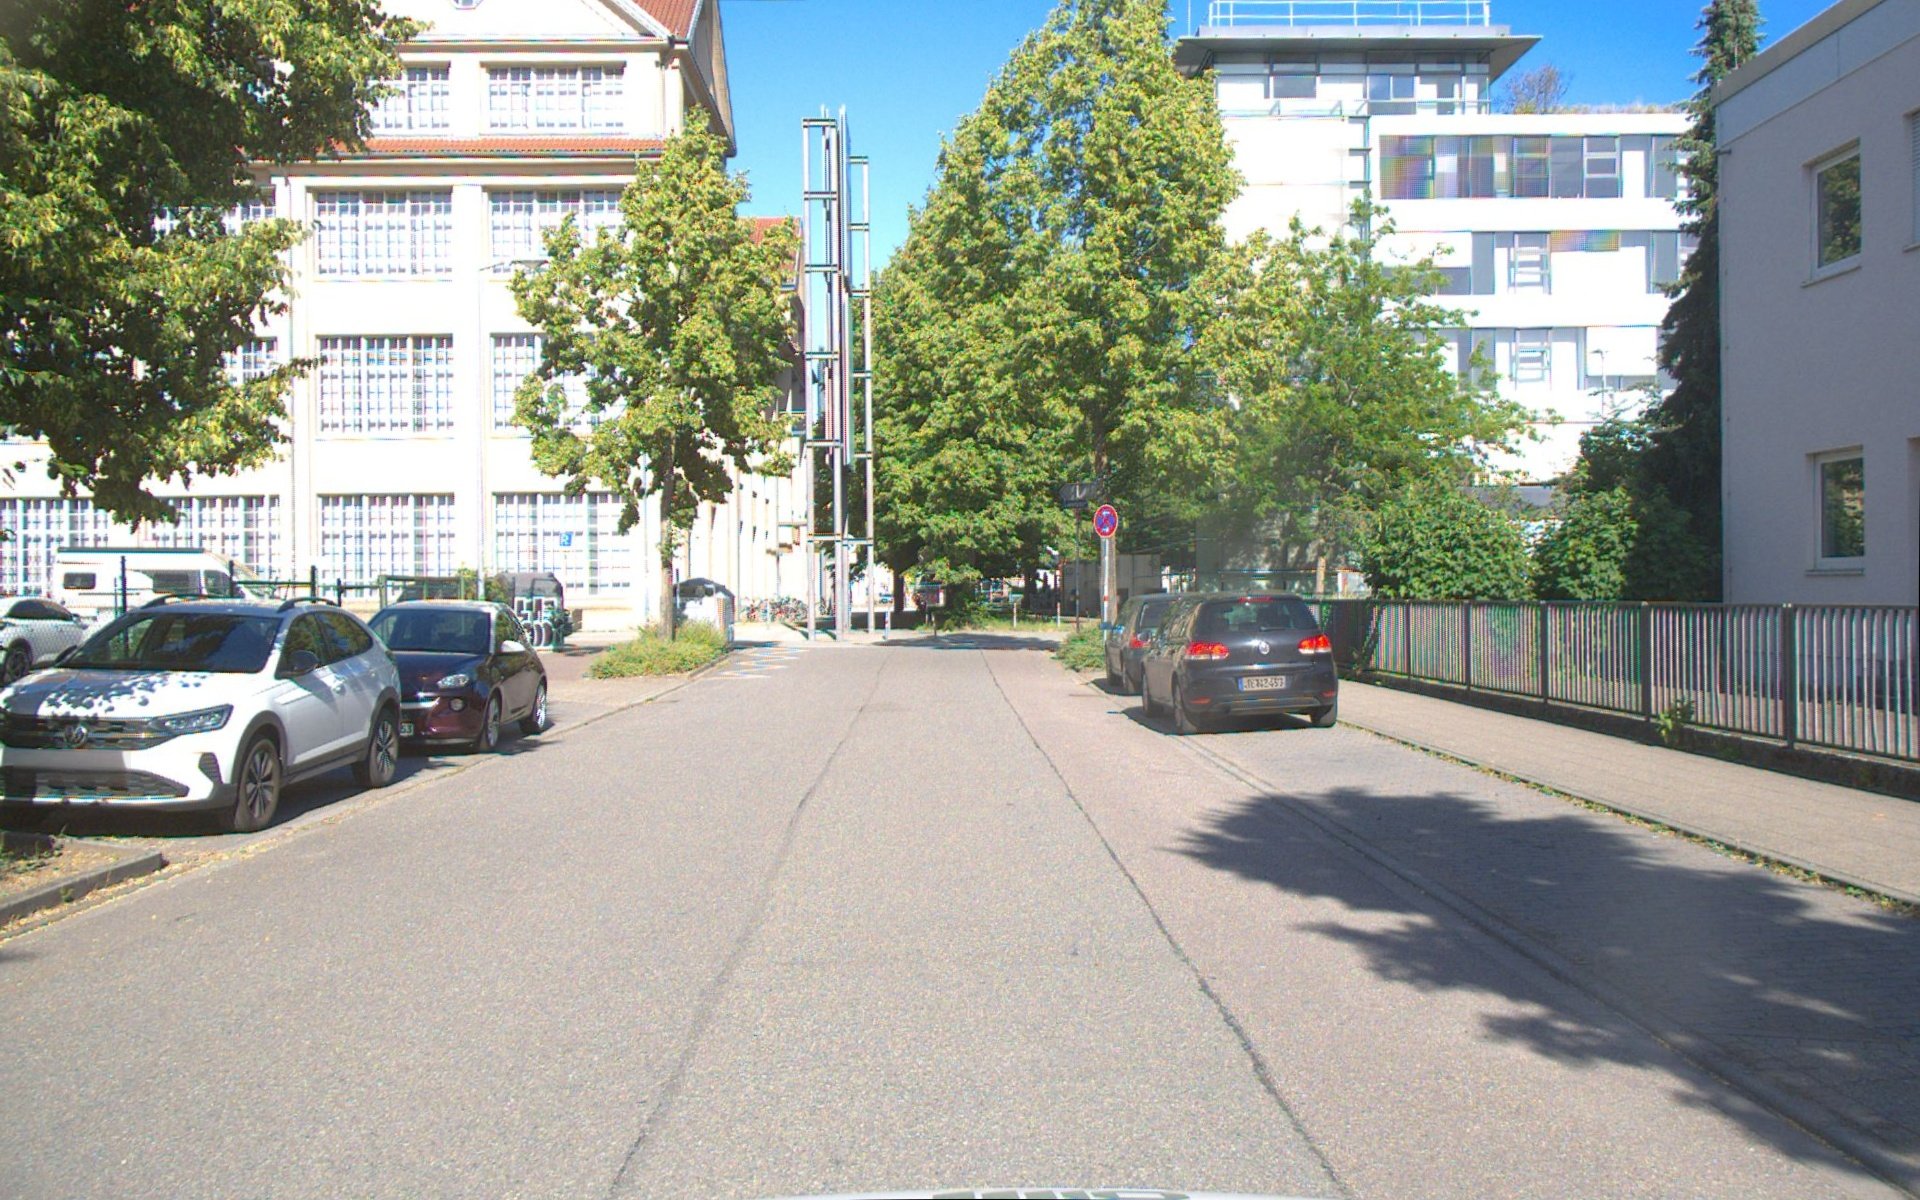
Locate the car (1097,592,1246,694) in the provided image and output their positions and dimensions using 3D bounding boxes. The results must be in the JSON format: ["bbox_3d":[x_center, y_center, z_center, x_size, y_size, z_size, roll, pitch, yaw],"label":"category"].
[{"bbox_3d":[3.175,0.619,25.575,1.711,1.447,4.423,0,0,0],"label":"car"}]

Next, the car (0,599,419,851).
[{"bbox_3d":[-5.498,0.763,12.084,1.803,1.500,4.001,1,0,-1],"label":"car"}]

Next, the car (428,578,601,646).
[{"bbox_3d":[-11.695,0.311,43.623,4.005,1.725,2.000,-1,0,0],"label":"car"}]

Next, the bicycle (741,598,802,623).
[{"bbox_3d":[-8.674,0.485,76.248,2.746,1.081,0.718,-1,0,-6],"label":"bicycle"}]

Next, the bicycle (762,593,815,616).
[{"bbox_3d":[-8.769,0.219,84.549,2.678,1.171,0.718,-1,0,-6],"label":"bicycle"}]

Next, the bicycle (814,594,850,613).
[{"bbox_3d":[-7.431,0.212,95.919,2.015,1.085,0.507,-1,0,1],"label":"bicycle"}]

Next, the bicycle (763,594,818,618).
[{"bbox_3d":[-8.524,0.312,83.151,2.746,1.171,0.718,-1,0,-6],"label":"bicycle"}]

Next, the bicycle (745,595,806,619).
[{"bbox_3d":[-8.680,0.341,77.853,2.743,1.081,0.718,0,0,-1],"label":"bicycle"}]

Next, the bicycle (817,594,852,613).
[{"bbox_3d":[-7.341,0.196,96.633,2.015,1.085,0.507,-1,0,1],"label":"bicycle"}]

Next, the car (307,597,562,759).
[{"bbox_3d":[-5.412,0.740,17.463,1.683,1.500,3.544,1,0,-3],"label":"car"}]

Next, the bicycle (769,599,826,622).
[{"bbox_3d":[-7.933,0.529,80.791,2.746,1.081,0.718,-1,0,-6],"label":"bicycle"}]

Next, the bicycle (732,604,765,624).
[{"bbox_3d":[-9.395,0.616,73.452,0.761,0.806,2.886,0,1,7],"label":"bicycle"}]

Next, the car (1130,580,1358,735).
[{"bbox_3d":[3.123,0.569,18.966,1.748,1.542,3.998,-1,1,-2],"label":"car"}]

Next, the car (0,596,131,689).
[{"bbox_3d":[-18.177,0.770,31.985,1.952,1.638,4.427,-1,0,2],"label":"car"}]

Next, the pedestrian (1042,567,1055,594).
[{"bbox_3d":[5.274,-1.162,98.367,0.701,1.577,0.690,-1,0,5],"label":"pedestrian"}]

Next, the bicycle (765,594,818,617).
[{"bbox_3d":[-8.698,0.268,85.340,2.678,1.171,0.718,-1,0,-6],"label":"bicycle"}]

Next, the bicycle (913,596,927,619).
[{"bbox_3d":[-2.185,0.416,90.366,0.607,1.218,2.129,-1,0,-6],"label":"bicycle"}]

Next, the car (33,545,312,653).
[{"bbox_3d":[-20.355,-0.036,42.978,6.136,2.642,2.164,-1,0,-2],"label":"car"}]
